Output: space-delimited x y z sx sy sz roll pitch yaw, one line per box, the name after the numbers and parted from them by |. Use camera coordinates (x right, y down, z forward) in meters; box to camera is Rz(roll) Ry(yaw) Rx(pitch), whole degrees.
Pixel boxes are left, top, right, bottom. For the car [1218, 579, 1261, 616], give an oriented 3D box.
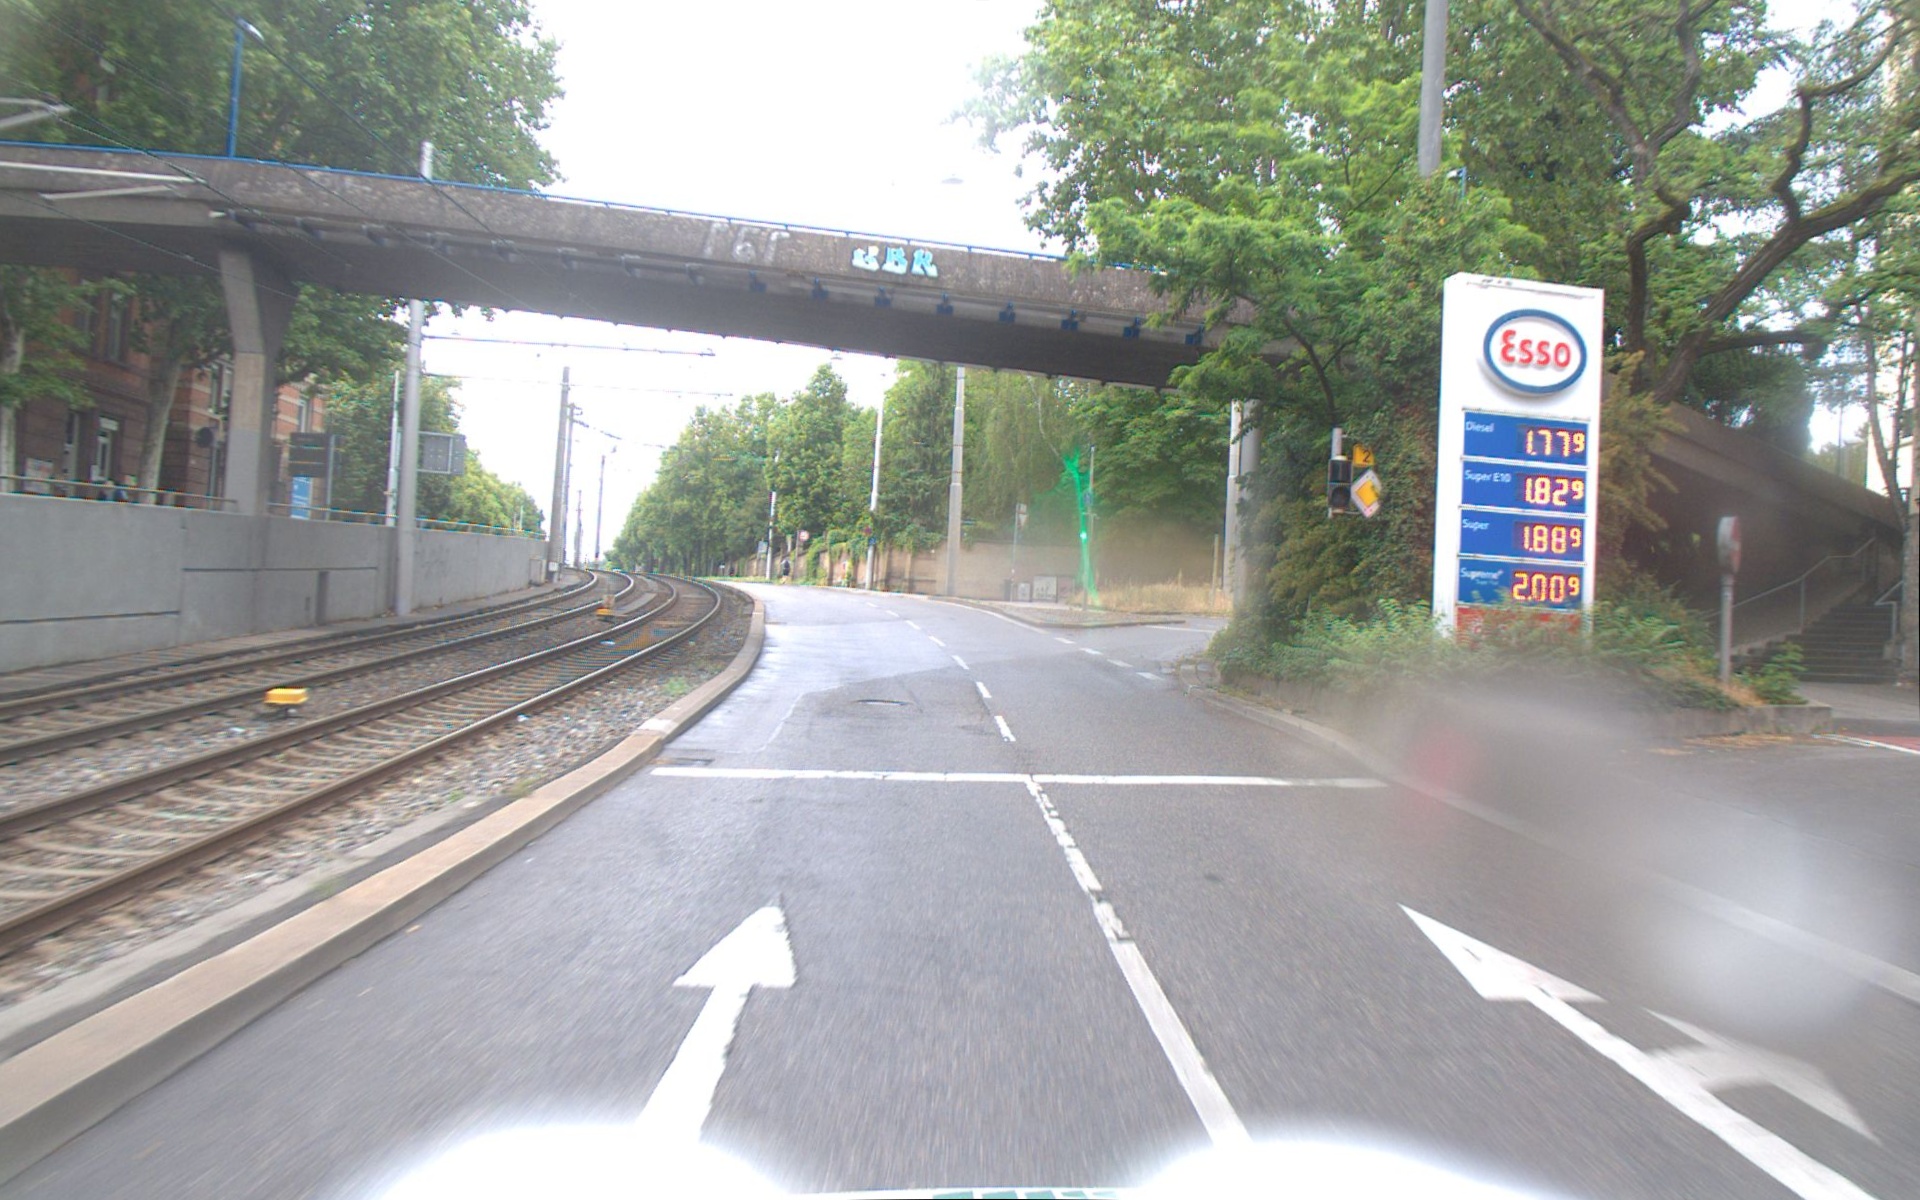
11.874 -0.110 70.153 1.716 1.430 4.003 2 0 10 | car

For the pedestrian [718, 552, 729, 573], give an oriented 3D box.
-20.040 -3.185 140.009 0.707 1.716 0.726 4 -1 -14 | pedestrian

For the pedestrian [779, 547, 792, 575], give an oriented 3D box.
-11.981 -2.654 113.524 0.707 1.882 0.780 4 -1 -14 | pedestrian

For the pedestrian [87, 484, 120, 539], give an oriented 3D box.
-26.016 -2.680 50.257 0.580 1.653 0.723 1 1 6 | pedestrian

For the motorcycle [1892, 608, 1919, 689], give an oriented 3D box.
14.961 0.759 25.429 0.522 1.211 1.766 1 1 10 | motorcycle

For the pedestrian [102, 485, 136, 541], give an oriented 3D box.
-25.326 -2.618 49.810 0.580 1.653 0.723 1 1 6 | pedestrian
